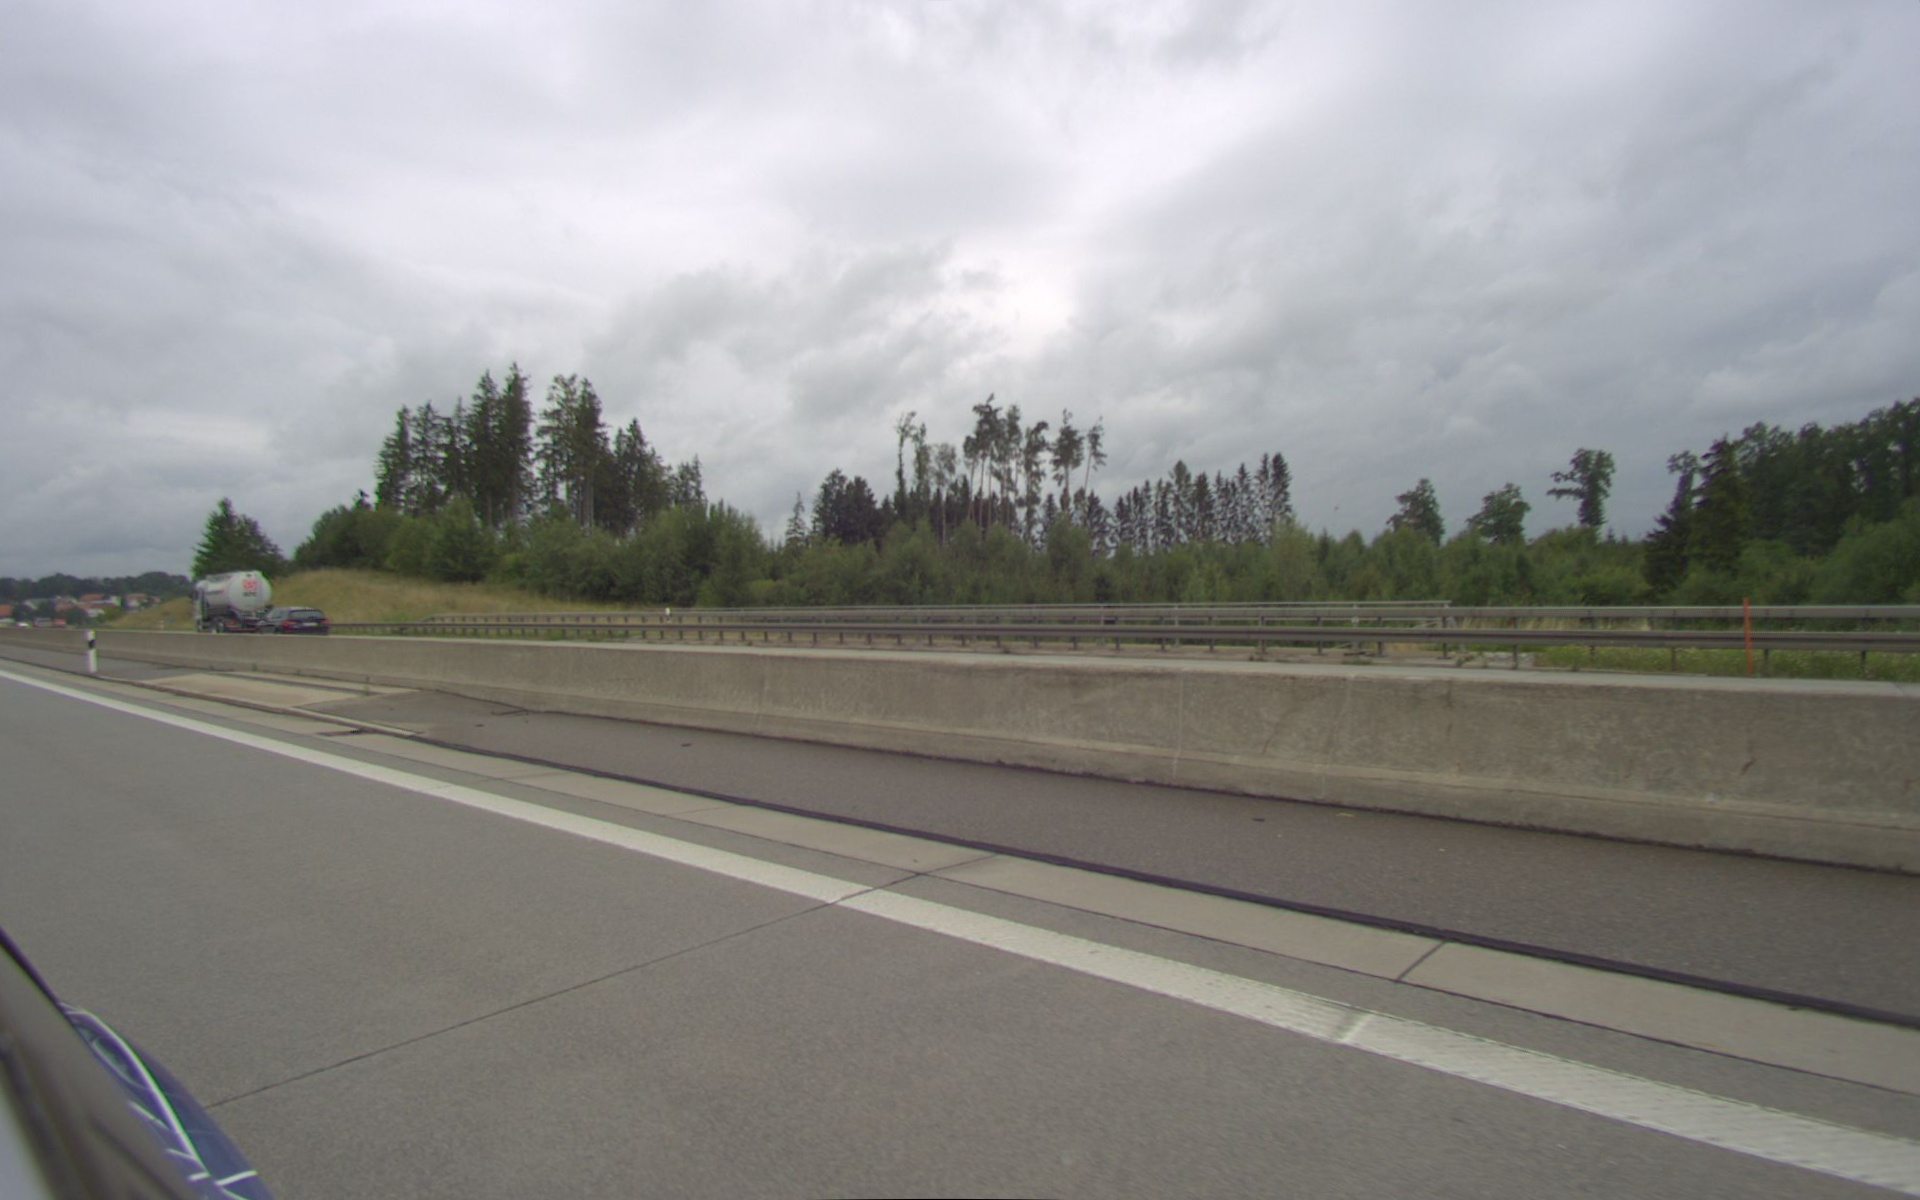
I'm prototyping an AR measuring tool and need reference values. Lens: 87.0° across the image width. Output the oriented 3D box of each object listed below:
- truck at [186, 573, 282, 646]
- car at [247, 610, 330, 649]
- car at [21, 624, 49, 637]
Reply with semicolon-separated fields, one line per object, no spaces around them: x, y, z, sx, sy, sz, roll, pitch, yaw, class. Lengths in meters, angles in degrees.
-44.630;0.586;62.108;8.846;4.163;2.807;-1;0;41;truck
-28.887;1.242;43.477;5.089;1.545;1.809;-1;0;42;car
-100.351;3.270;109.788;4.360;1.297;1.924;-1;0;43;car
